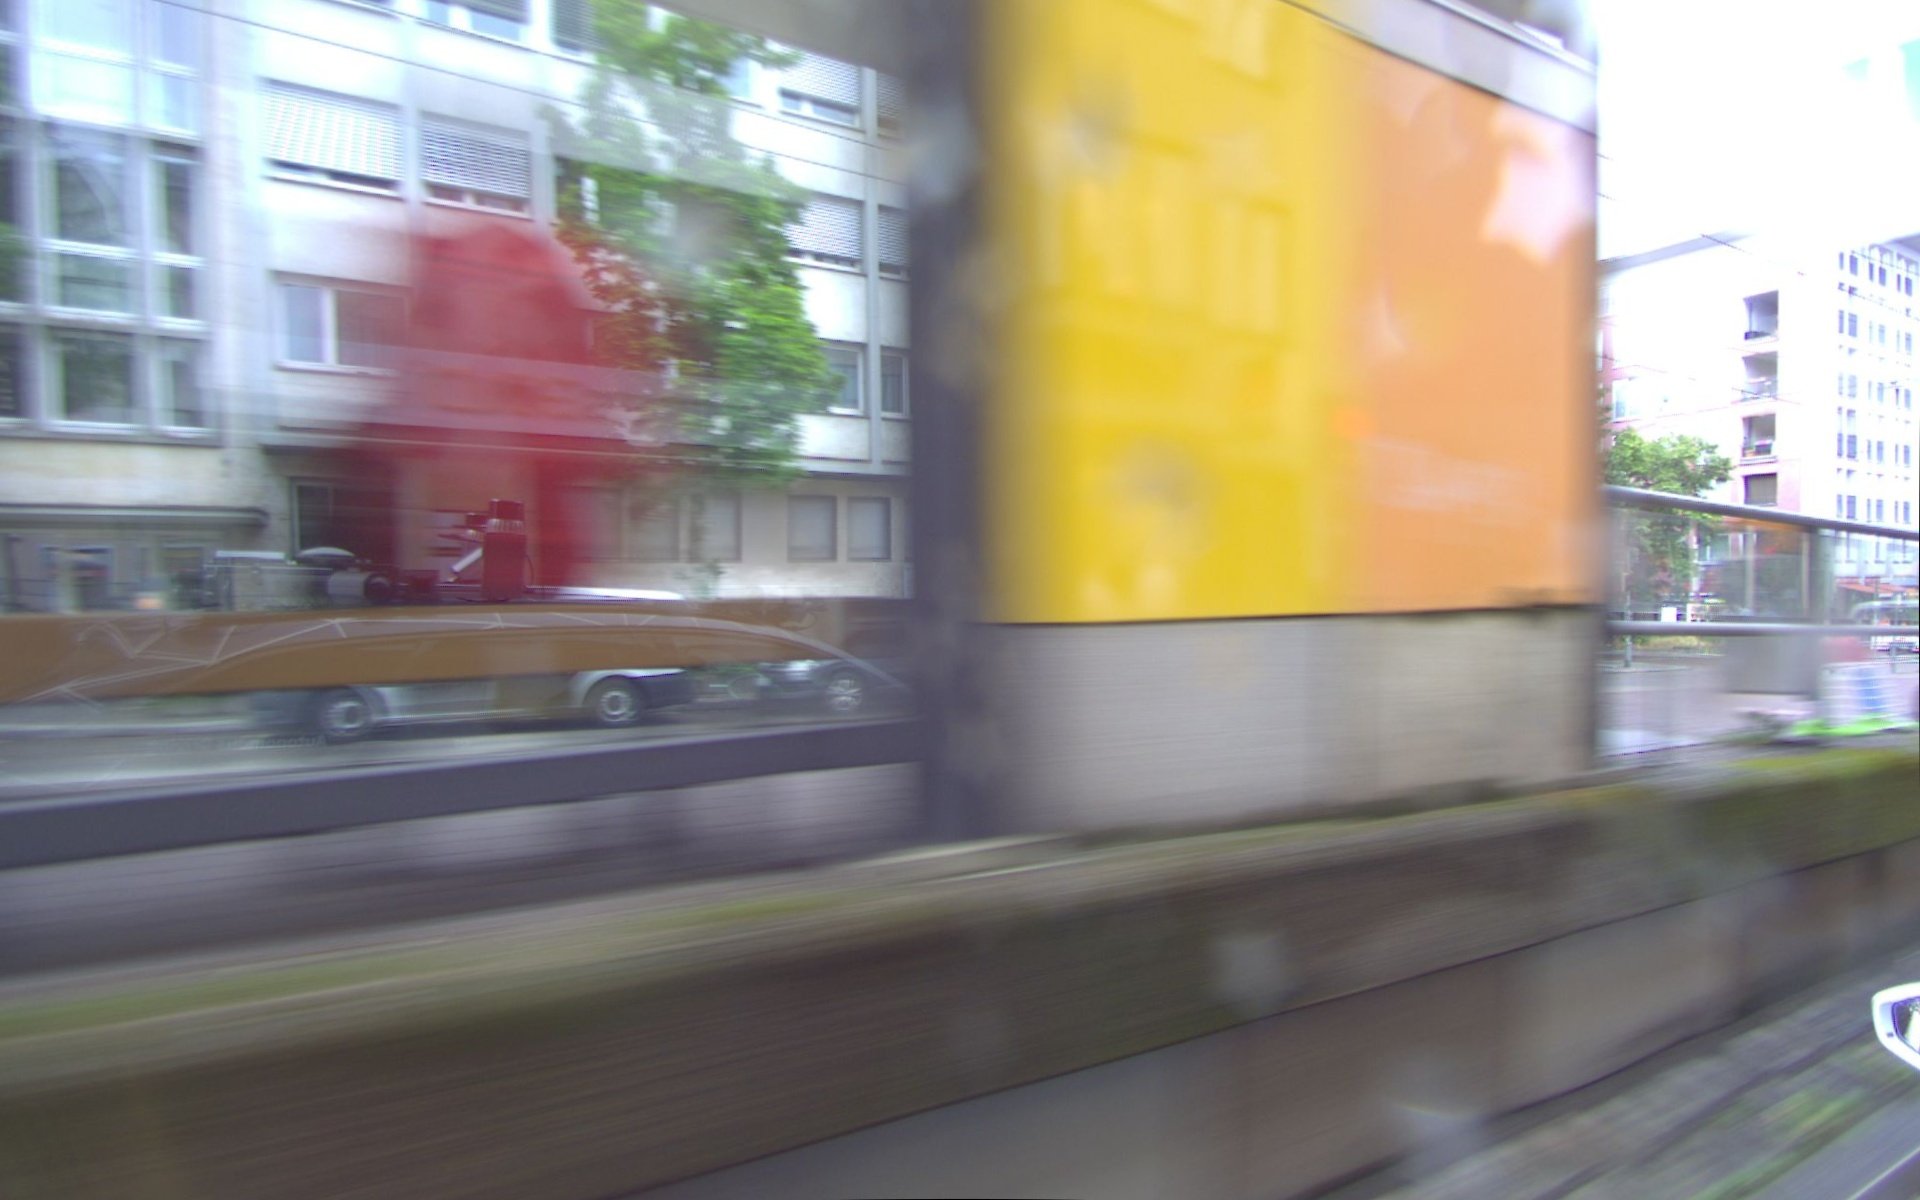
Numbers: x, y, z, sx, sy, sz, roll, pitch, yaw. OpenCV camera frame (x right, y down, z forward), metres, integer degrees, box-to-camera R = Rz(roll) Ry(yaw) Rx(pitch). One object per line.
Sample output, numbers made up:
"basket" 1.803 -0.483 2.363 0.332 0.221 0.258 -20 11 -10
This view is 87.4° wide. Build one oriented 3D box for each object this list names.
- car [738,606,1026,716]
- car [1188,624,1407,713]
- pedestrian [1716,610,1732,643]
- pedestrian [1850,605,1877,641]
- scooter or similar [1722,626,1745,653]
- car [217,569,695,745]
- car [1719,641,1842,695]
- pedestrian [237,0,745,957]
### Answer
"car" -1.192 0.909 16.023 4.320 1.557 1.631 1 -1 -30
"car" 5.812 1.103 17.173 3.695 1.356 1.629 1 -1 -33
"pedestrian" 39.272 1.341 51.609 0.570 1.653 0.609 2 1 34
"pedestrian" 44.621 1.122 49.607 0.977 1.720 0.812 1 1 -39
"scooter or similar" 35.560 1.818 46.176 1.197 1.207 0.387 1 -1 -30
"car" -6.282 0.664 12.971 5.204 1.869 1.895 1 -1 -35
"car" 25.123 2.022 30.712 4.483 1.481 1.682 1 -1 -34
"pedestrian" -0.858 -0.172 1.842 0.693 1.319 0.724 1 -1 -33
